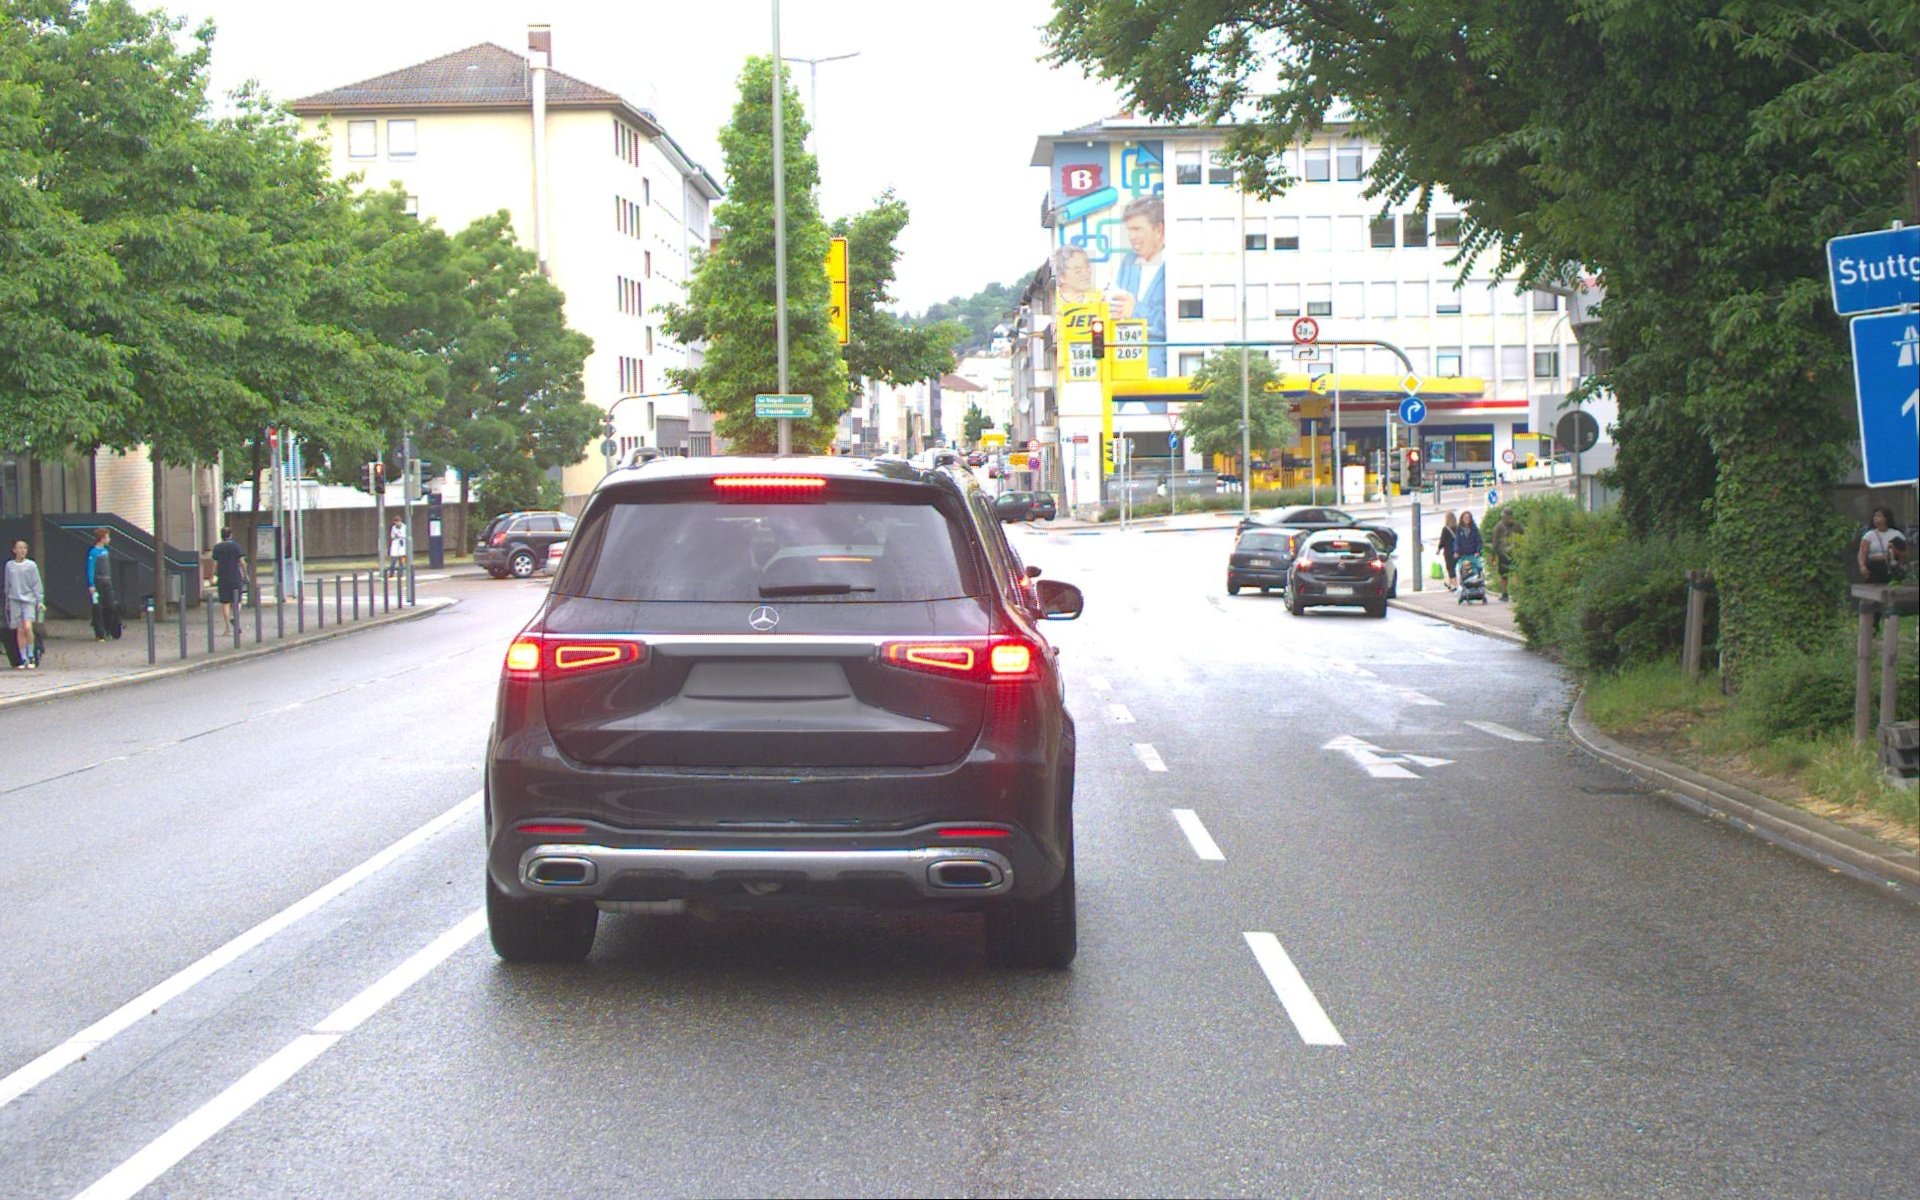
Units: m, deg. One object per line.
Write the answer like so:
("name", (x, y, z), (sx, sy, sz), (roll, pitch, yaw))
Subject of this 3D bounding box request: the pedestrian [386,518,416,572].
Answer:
("pedestrian", (-15.183, -1.500, 93.392), (0.711, 1.457, 0.598), (1, 0, -1))

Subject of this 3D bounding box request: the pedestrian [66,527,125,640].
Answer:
("pedestrian", (-13.296, -0.247, 52.917), (0.688, 1.719, 0.754), (1, -1, -1))

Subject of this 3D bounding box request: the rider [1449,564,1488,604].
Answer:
("rider", (9.677, -0.307, 65.439), (0.693, 0.737, 0.632), (1, 0, 5))

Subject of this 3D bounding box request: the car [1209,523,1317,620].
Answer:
("car", (6.535, -0.625, 74.509), (1.993, 2.007, 4.000), (1, 0, 1))

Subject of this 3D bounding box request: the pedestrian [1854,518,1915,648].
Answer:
("pedestrian", (10.786, -0.200, 40.116), (0.582, 1.496, 0.504), (1, 0, 6))

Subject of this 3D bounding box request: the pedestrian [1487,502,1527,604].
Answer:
("pedestrian", (10.431, -0.894, 65.520), (0.620, 1.929, 0.610), (1, 0, -1))

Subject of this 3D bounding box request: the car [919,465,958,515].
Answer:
("car", (-1.160, -5.927, 184.756), (1.993, 2.005, 4.004), (1, 12, -1))

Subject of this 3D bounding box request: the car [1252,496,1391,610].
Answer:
("car", (6.538, -0.882, 62.566), (1.993, 2.007, 4.001), (0, 1, -1))

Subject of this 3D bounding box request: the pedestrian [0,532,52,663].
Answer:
("pedestrian", (-12.271, -0.028, 44.868), (0.676, 1.691, 0.479), (1, -1, 0))

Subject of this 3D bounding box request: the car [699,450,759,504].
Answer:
("car", (-8.739, -4.639, 130.198), (1.993, 1.868, 5.142), (1, 0, -1))

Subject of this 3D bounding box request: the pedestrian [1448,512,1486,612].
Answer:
("pedestrian", (9.757, -0.734, 66.154), (0.662, 1.911, 0.728), (1, 0, 8))

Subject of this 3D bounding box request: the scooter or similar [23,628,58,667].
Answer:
("scooter or similar", (-12.112, 0.624, 45.289), (0.280, 0.499, 0.616), (1, 0, 0))

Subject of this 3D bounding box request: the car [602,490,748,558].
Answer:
("car", (-8.252, -2.184, 99.402), (3.986, 1.936, 2.001), (-1, 1, -11))

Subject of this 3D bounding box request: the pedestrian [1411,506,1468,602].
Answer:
("pedestrian", (10.291, -0.990, 73.805), (1.025, 2.007, 0.999), (1, 1, -1))

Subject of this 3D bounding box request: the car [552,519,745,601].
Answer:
("car", (-7.905, -1.038, 87.023), (4.804, 2.006, 2.001), (-1, 2, -7))

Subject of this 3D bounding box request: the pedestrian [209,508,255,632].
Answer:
("pedestrian", (-11.967, -0.505, 56.532), (0.587, 2.006, 0.749), (1, 2, -1))

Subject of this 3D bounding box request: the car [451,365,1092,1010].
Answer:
("car", (-0.627, 0.262, 12.902), (1.993, 2.007, 4.000), (1, 0, -1))

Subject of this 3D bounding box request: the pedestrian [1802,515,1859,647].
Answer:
("pedestrian", (10.222, -0.221, 40.377), (0.551, 1.527, 0.488), (1, 0, 7))
